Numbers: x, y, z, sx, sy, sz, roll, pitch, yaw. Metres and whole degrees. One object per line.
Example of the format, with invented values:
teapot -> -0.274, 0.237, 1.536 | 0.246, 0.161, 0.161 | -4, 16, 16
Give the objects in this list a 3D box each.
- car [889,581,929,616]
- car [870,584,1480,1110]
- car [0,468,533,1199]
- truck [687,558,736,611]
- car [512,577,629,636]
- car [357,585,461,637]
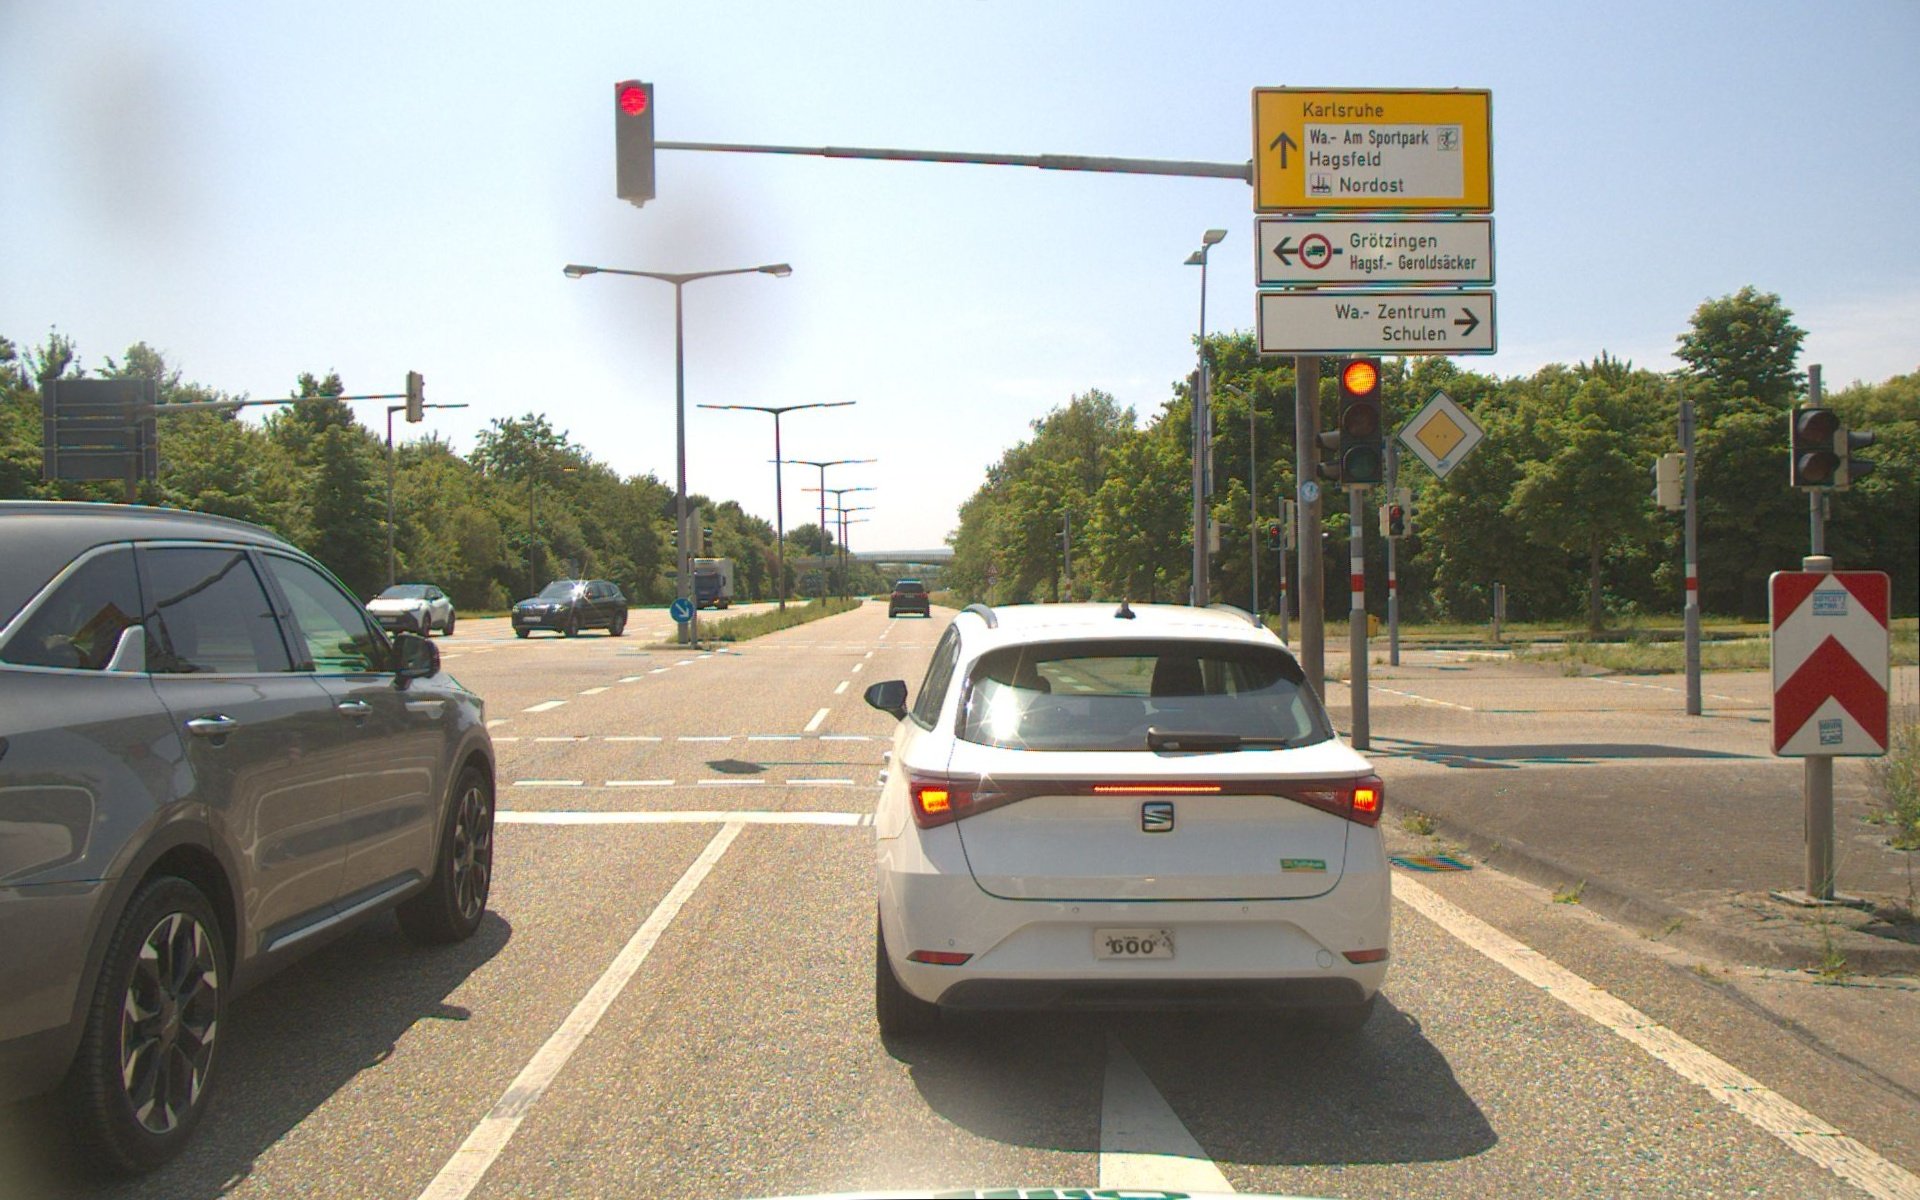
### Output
car -> -2.569, -0.097, 84.499 | 1.816, 1.738, 4.001 | -1, 1, 1
car -> 0.582, 0.703, 6.491 | 1.699, 1.453, 3.693 | 1, 0, -1
car -> -2.869, 0.576, 5.455 | 1.767, 1.691, 4.643 | -1, 0, -1
truck -> -17.811, -1.115, 118.952 | 2.633, 3.633, 7.266 | 0, 1, -1
car -> -11.740, 0.175, 50.102 | 1.670, 1.692, 4.226 | -1, 1, 14
car -> -16.582, 0.302, 49.975 | 1.785, 1.481, 4.168 | -1, 1, -1
